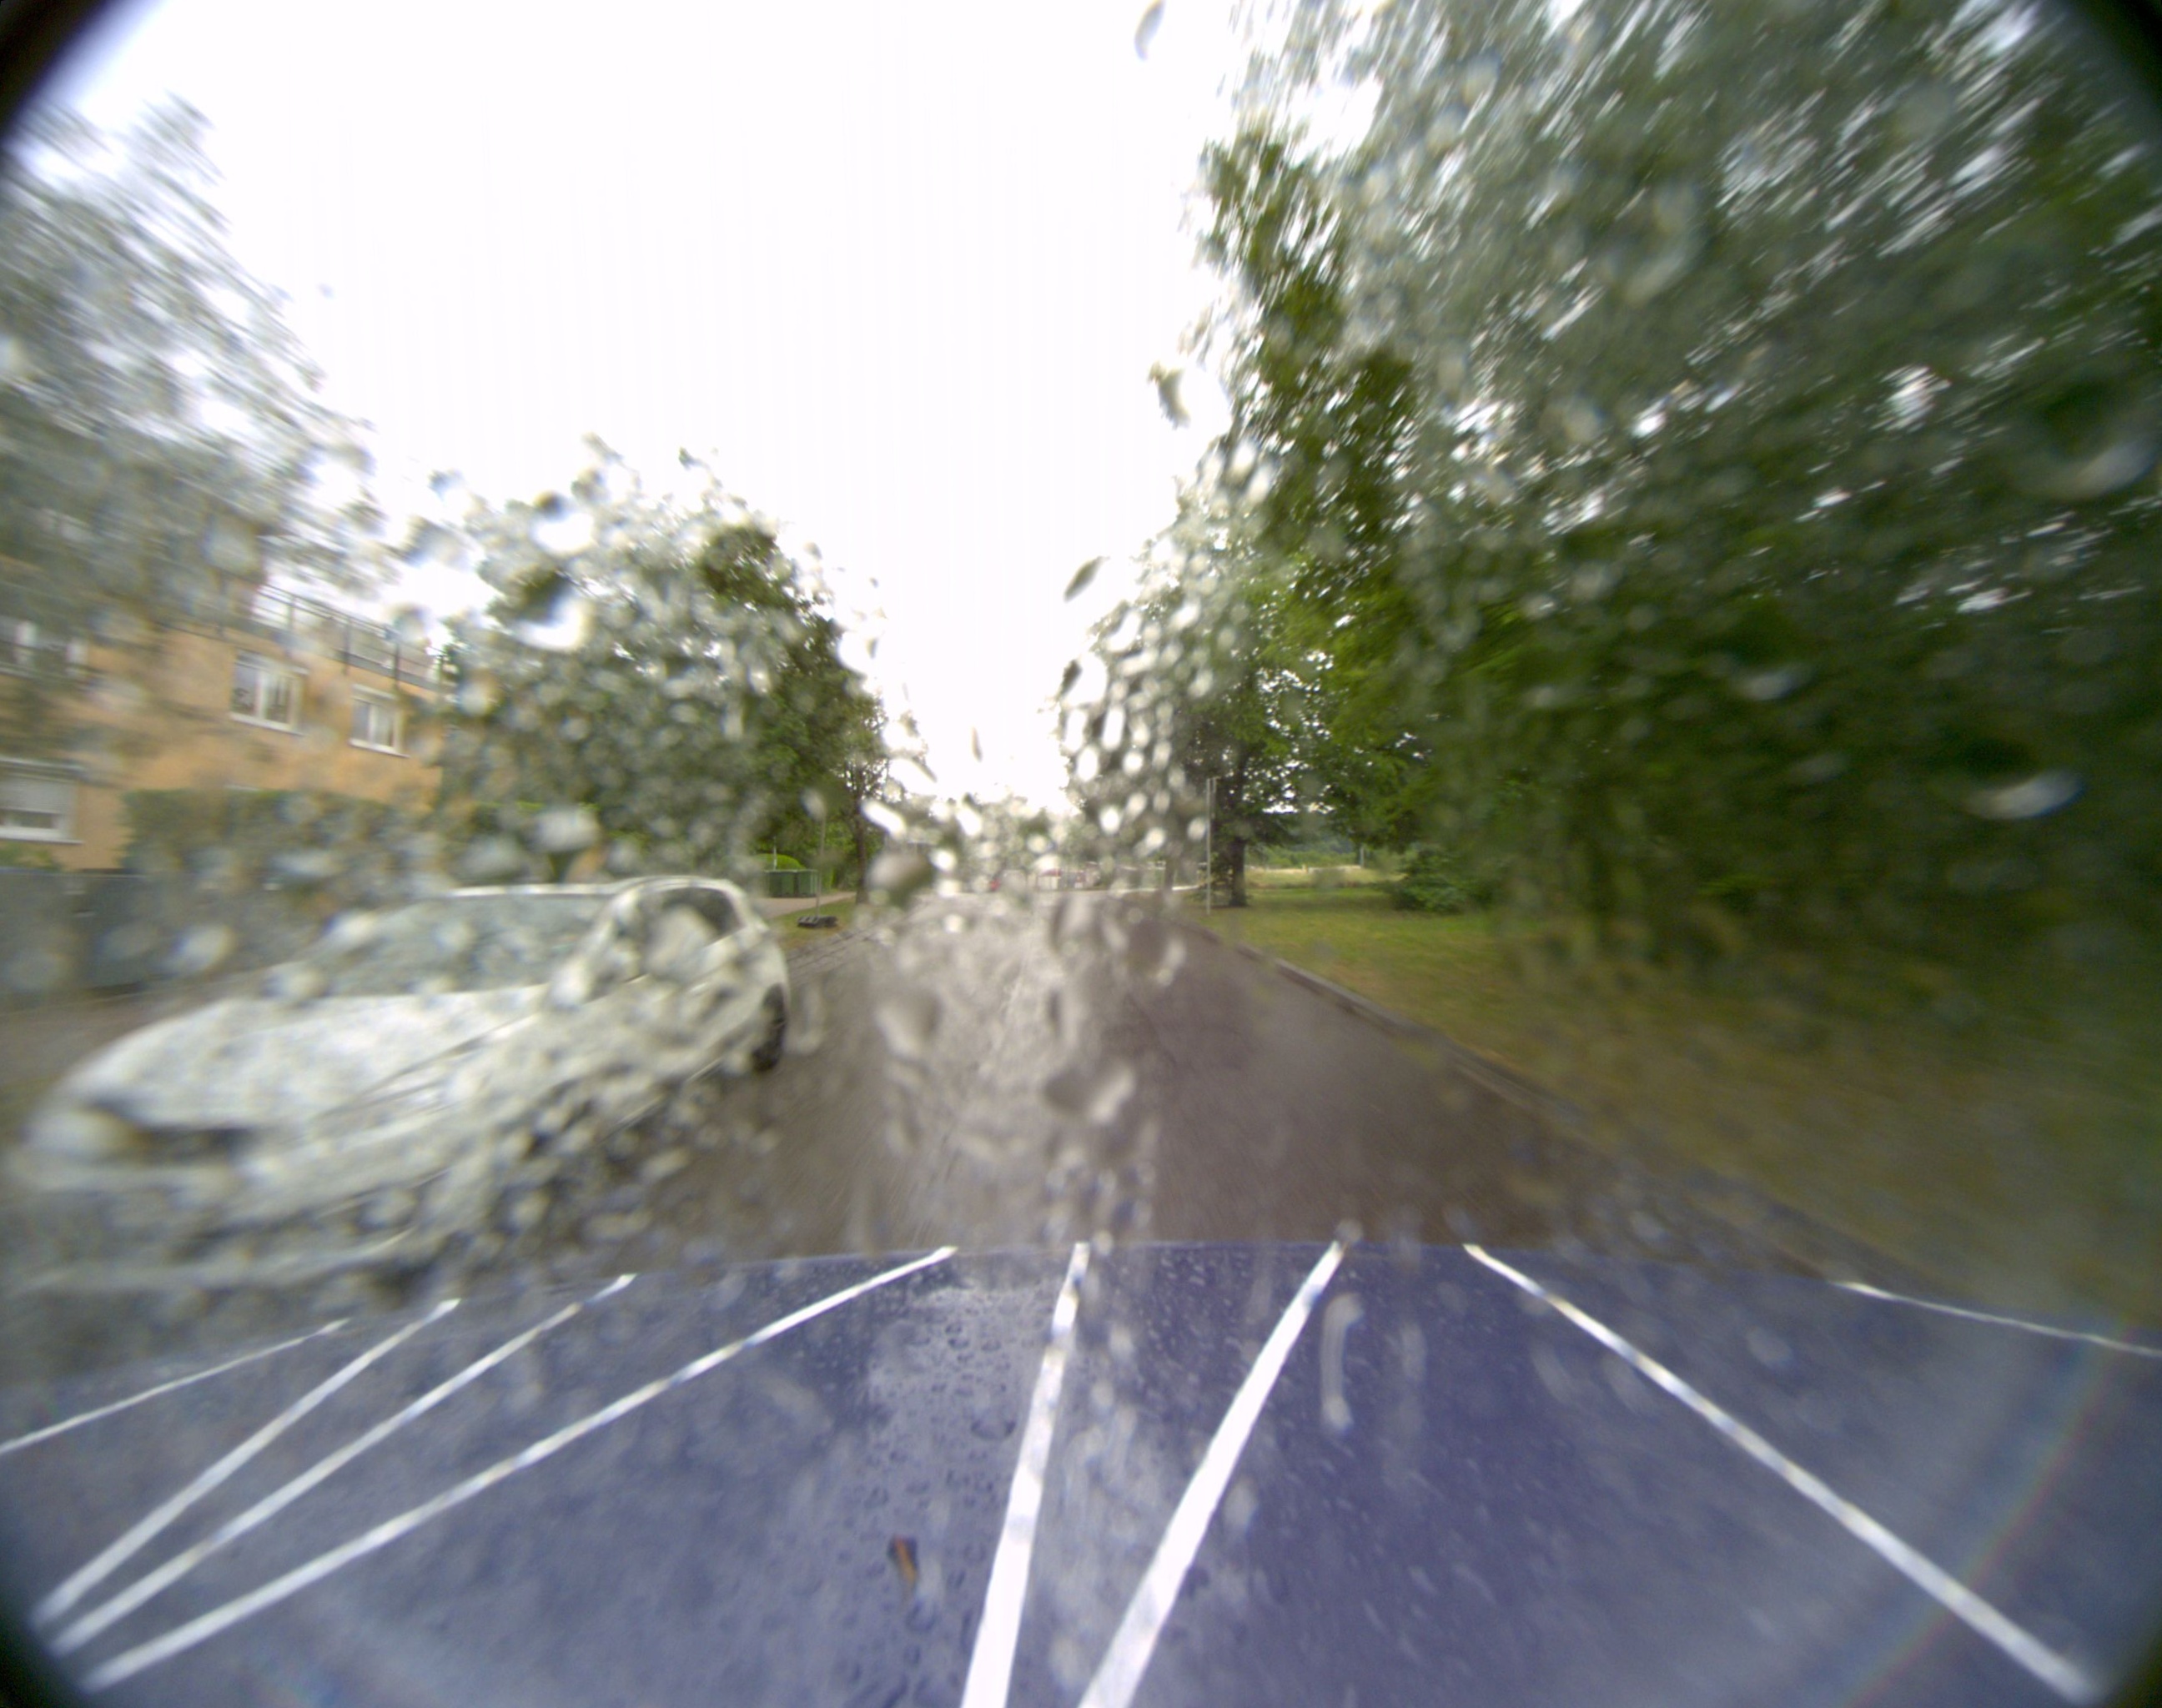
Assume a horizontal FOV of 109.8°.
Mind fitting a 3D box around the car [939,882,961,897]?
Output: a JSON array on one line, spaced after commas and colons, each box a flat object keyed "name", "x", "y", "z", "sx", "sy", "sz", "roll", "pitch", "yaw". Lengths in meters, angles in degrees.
[{"name": "car", "x": -15.827, "y": 4.258, "z": 91.422, "sx": 1.964, "sy": 1.596, "sz": 3.997, "roll": 0, "pitch": -6, "yaw": -20}]

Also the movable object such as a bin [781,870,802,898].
[{"name": "movable object such as a bin", "x": -10.919, "y": 1.133, "z": 28.667, "sx": 0.598, "sy": 1.066, "sz": 0.696, "roll": 0, "pitch": -2, "yaw": -9}]

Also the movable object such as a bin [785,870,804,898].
[{"name": "movable object such as a bin", "x": -11.074, "y": 1.156, "z": 29.387, "sx": 0.544, "sy": 1.068, "sz": 0.696, "roll": 0, "pitch": -2, "yaw": -9}]

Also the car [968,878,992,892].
[{"name": "car", "x": -9.982, "y": 3.072, "z": 75.027, "sx": 1.735, "sy": 1.273, "sz": 3.325, "roll": 0, "pitch": -3, "yaw": -18}]

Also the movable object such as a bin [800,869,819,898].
[{"name": "movable object such as a bin", "x": -10.282, "y": 1.120, "z": 28.746, "sx": 0.544, "sy": 1.067, "sz": 0.667, "roll": 0, "pitch": -2, "yaw": -9}]

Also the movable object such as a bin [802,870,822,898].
[{"name": "movable object such as a bin", "x": -10.445, "y": 1.150, "z": 29.484, "sx": 0.602, "sy": 1.068, "sz": 0.696, "roll": 0, "pitch": -2, "yaw": -9}]

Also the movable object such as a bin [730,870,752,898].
[{"name": "movable object such as a bin", "x": -13.028, "y": 1.147, "z": 29.104, "sx": 0.605, "sy": 1.048, "sz": 0.696, "roll": 0, "pitch": -2, "yaw": -9}]

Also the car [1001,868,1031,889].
[{"name": "car", "x": -4.760, "y": 1.790, "z": 55.393, "sx": 1.680, "sy": 1.470, "sz": 3.552, "roll": -1, "pitch": -2, "yaw": -12}]

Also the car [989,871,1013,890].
[{"name": "car", "x": -6.411, "y": 2.106, "z": 61.004, "sx": 1.554, "sy": 1.427, "sz": 3.010, "roll": -1, "pitch": -3, "yaw": -12}]

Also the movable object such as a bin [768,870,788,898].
[{"name": "movable object such as a bin", "x": -11.678, "y": 1.151, "z": 29.300, "sx": 0.579, "sy": 1.060, "sz": 0.696, "roll": 0, "pitch": -2, "yaw": -9}]

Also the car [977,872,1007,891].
[{"name": "car", "x": -7.897, "y": 2.431, "z": 66.969, "sx": 1.853, "sy": 1.542, "sz": 3.986, "roll": 0, "pitch": -4, "yaw": -18}]

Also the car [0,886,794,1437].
[{"name": "car", "x": -3.081, "y": 1.017, "z": 4.163, "sx": 1.610, "sy": 1.494, "sz": 3.726, "roll": -1, "pitch": 0, "yaw": -1}]

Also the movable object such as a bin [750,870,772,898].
[{"name": "movable object such as a bin", "x": -12.306, "y": 1.162, "z": 29.244, "sx": 0.605, "sy": 1.048, "sz": 0.696, "roll": 0, "pitch": -2, "yaw": -9}]
